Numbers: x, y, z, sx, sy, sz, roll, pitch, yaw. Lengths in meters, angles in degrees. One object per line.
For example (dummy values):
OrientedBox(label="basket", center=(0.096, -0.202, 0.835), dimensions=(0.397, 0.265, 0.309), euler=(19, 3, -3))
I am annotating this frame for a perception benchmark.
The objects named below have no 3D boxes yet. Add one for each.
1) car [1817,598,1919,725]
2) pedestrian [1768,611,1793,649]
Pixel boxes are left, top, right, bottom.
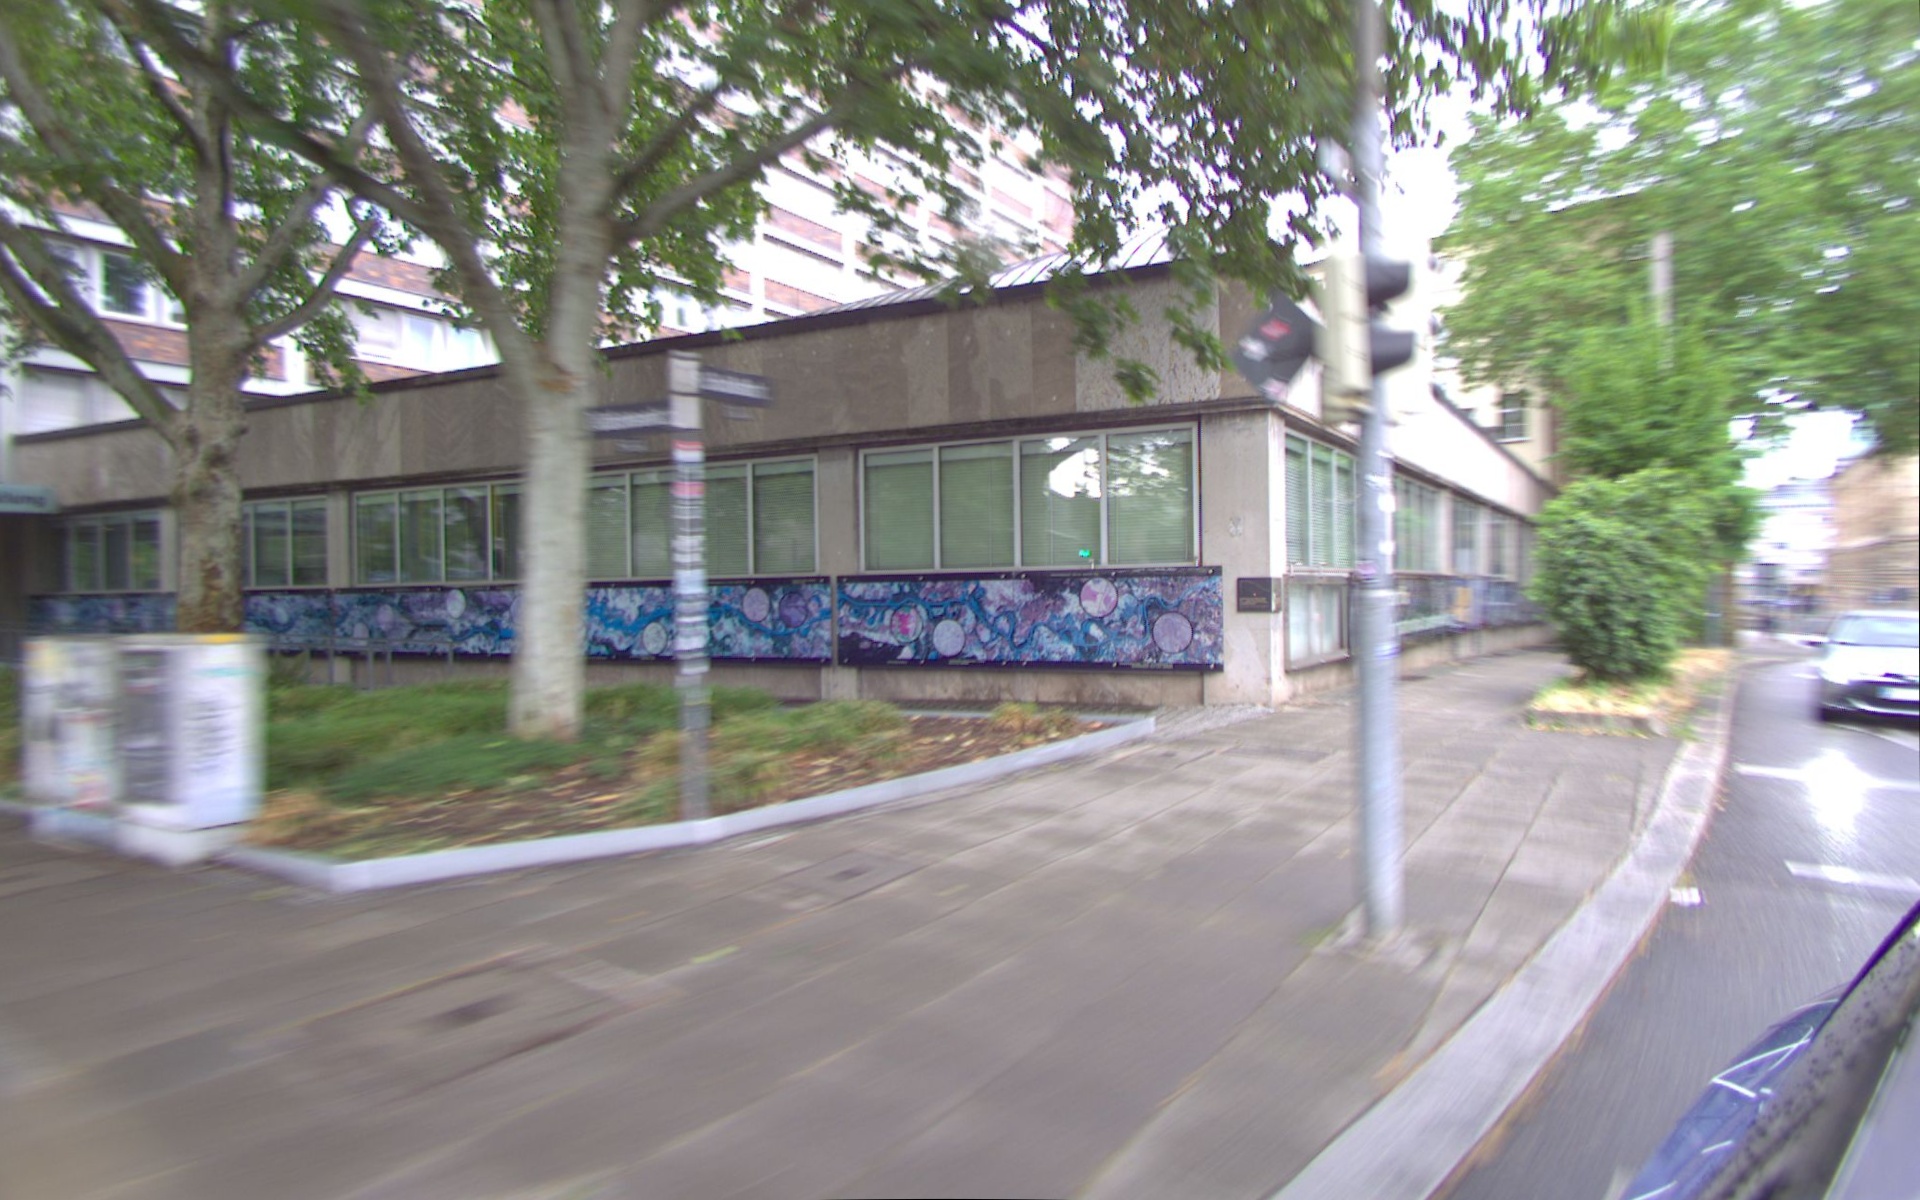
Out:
OrientedBox(label="car", center=(12.571, 0.725, 13.354), dimensions=(1.804, 1.452, 4.237), euler=(1, 1, 39))
OrientedBox(label="pedestrian", center=(36.420, 1.315, 44.917), dimensions=(0.747, 1.660, 0.718), euler=(-1, -1, -41))
